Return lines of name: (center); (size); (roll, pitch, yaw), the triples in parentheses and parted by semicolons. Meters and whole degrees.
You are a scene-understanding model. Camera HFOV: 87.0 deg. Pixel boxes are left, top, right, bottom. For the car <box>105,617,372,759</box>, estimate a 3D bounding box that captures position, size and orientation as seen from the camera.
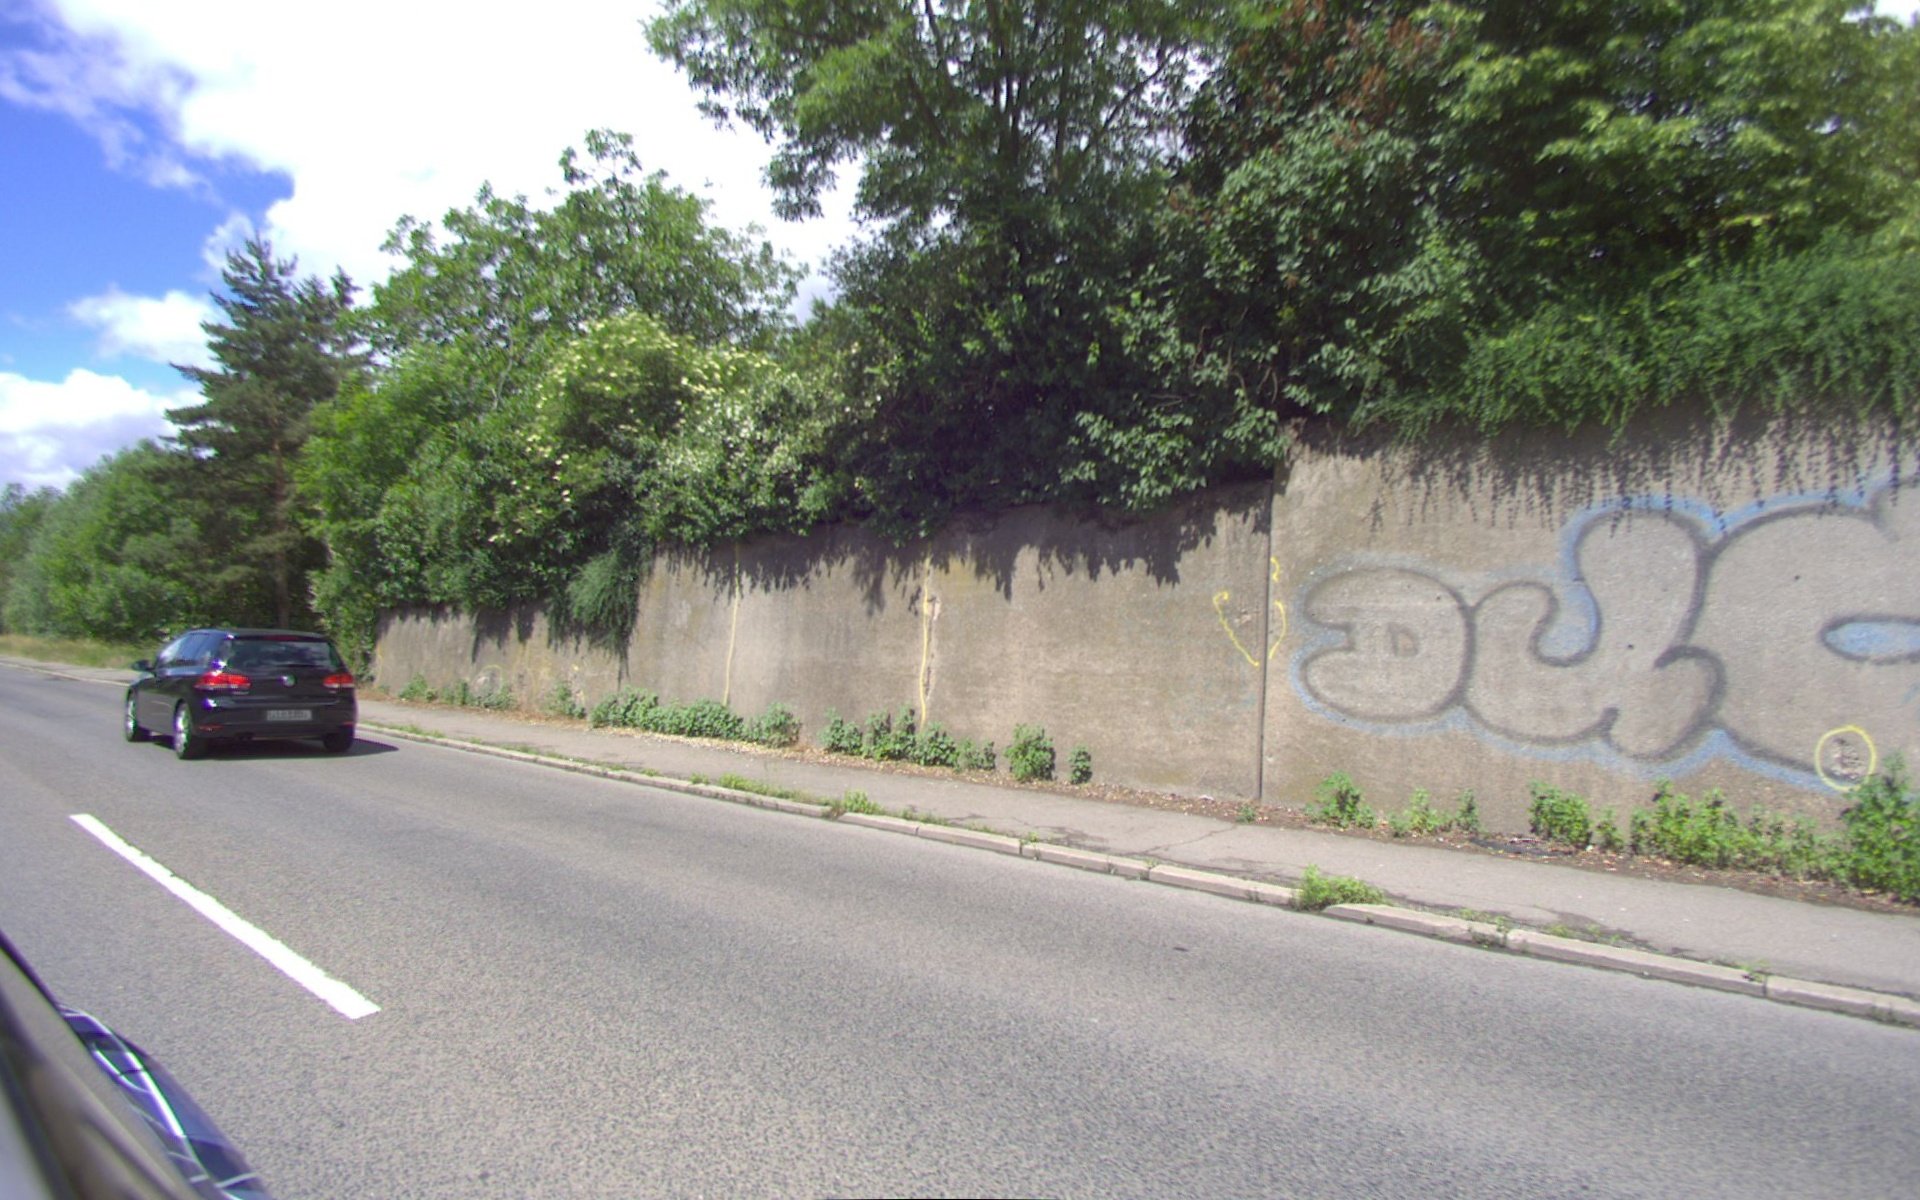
car: (-8.978, 0.980, 12.481); (3.997, 1.475, 1.733); (-1, -3, 40)
